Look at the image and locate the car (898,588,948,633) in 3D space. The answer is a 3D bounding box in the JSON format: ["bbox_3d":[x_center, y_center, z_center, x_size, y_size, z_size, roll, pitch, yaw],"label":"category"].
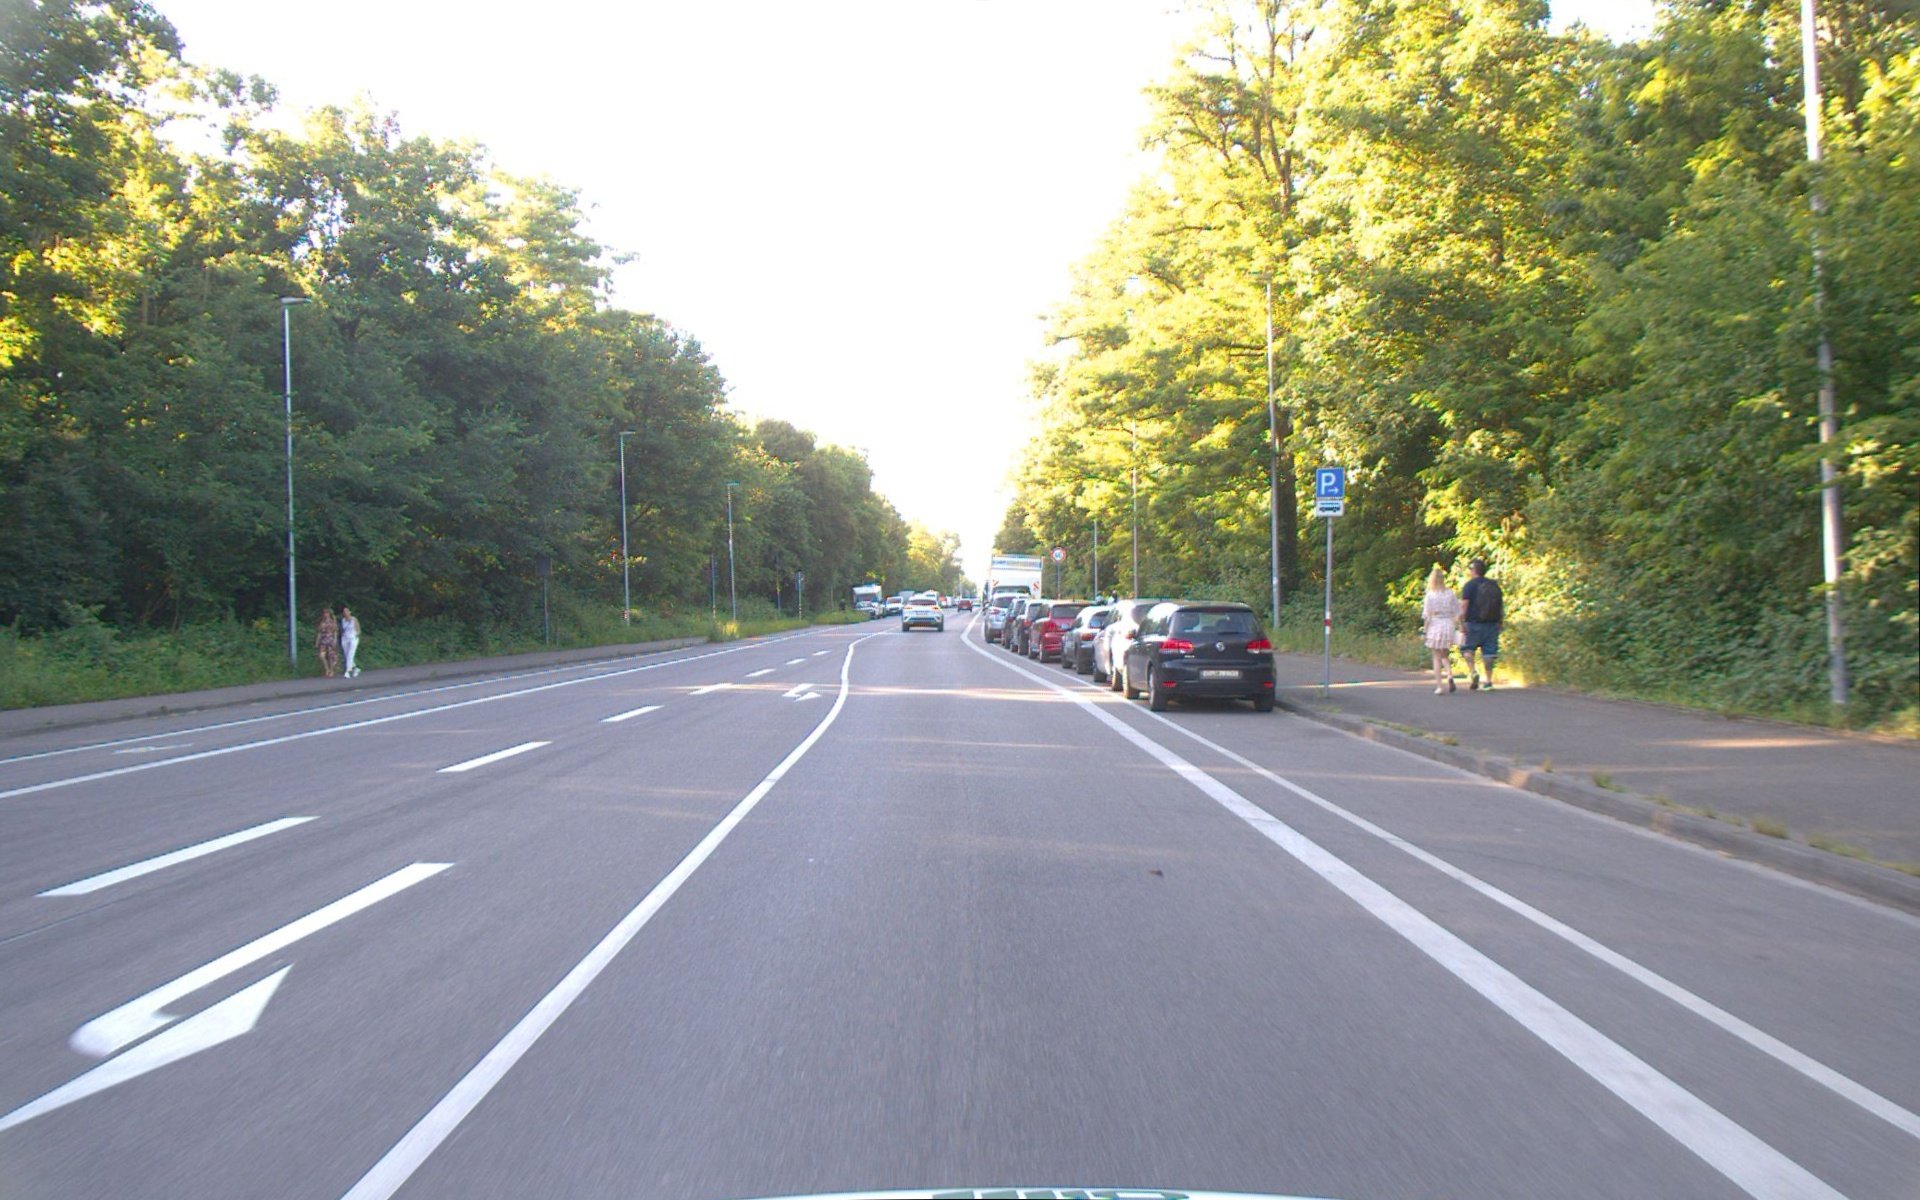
[{"bbox_3d":[-1.625,0.438,73.416,1.987,1.872,4.029,-1,0,1],"label":"car"}]

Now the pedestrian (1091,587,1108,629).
[{"bbox_3d":[6.057,0.329,71.913,0.605,1.795,0.907,-2,0,0],"label":"pedestrian"}]

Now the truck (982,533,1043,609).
[{"bbox_3d":[2.575,-1.405,83.571,2.774,3.559,8.578,-1,0,0],"label":"truck"}]

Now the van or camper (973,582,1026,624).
[{"bbox_3d":[2.903,0.190,120.712,2.389,2.848,6.562,-2,0,14],"label":"van or camper"}]

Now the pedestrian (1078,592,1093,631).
[{"bbox_3d":[5.303,0.492,69.667,0.552,1.616,0.482,-2,0,0],"label":"pedestrian"}]

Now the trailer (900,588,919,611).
[{"bbox_3d":[-5.900,-0.057,193.782,1.953,2.642,4.416,-3,0,1],"label":"trailer"}]

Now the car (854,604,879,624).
[{"bbox_3d":[-7.272,1.082,129.417,1.790,1.501,4.679,-3,0,-2],"label":"car"}]

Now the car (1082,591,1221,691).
[{"bbox_3d":[3.225,0.649,28.605,1.702,1.551,4.357,-2,0,-2],"label":"car"}]

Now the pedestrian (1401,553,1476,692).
[{"bbox_3d":[6.577,0.303,22.747,0.662,1.830,0.789,-3,0,-5],"label":"pedestrian"}]

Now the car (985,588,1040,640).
[{"bbox_3d":[1.757,0.443,55.625,1.761,1.623,4.029,-1,0,1],"label":"car"}]

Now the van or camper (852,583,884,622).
[{"bbox_3d":[-7.578,0.228,137.391,2.268,3.021,7.109,-3,0,-1],"label":"van or camper"}]

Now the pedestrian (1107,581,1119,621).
[{"bbox_3d":[6.248,0.043,67.393,0.386,1.616,0.482,-2,0,0],"label":"pedestrian"}]

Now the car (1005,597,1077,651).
[{"bbox_3d":[2.175,0.629,45.180,1.562,1.426,3.796,0,0,-3],"label":"car"}]

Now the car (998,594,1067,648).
[{"bbox_3d":[2.150,0.598,50.053,1.771,1.545,4.503,1,0,-2],"label":"car"}]

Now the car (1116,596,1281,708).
[{"bbox_3d":[3.358,0.689,23.974,1.623,1.477,4.018,1,0,-3],"label":"car"}]

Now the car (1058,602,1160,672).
[{"bbox_3d":[3.025,0.720,34.174,1.595,1.342,3.838,0,0,-3],"label":"car"}]

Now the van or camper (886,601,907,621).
[{"bbox_3d":[-6.537,1.139,170.510,1.798,1.945,4.856,-3,0,0],"label":"van or camper"}]

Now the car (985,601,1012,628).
[{"bbox_3d":[2.528,0.918,108.491,1.676,1.694,4.552,1,0,2],"label":"car"}]

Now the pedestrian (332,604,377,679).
[{"bbox_3d":[-13.929,0.946,38.073,0.660,1.682,0.790,-1,0,5],"label":"pedestrian"}]

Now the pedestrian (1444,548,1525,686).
[{"bbox_3d":[7.250,0.234,22.882,0.662,1.830,0.952,-3,0,-5],"label":"pedestrian"}]

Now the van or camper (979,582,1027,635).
[{"bbox_3d":[1.775,0.322,68.023,1.858,2.049,4.587,-1,0,1],"label":"van or camper"}]

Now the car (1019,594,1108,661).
[{"bbox_3d":[2.434,0.631,39.634,1.585,1.494,3.720,1,0,-5],"label":"car"}]

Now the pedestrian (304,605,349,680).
[{"bbox_3d":[-14.595,0.977,38.130,0.660,1.682,0.790,-1,0,5],"label":"pedestrian"}]
